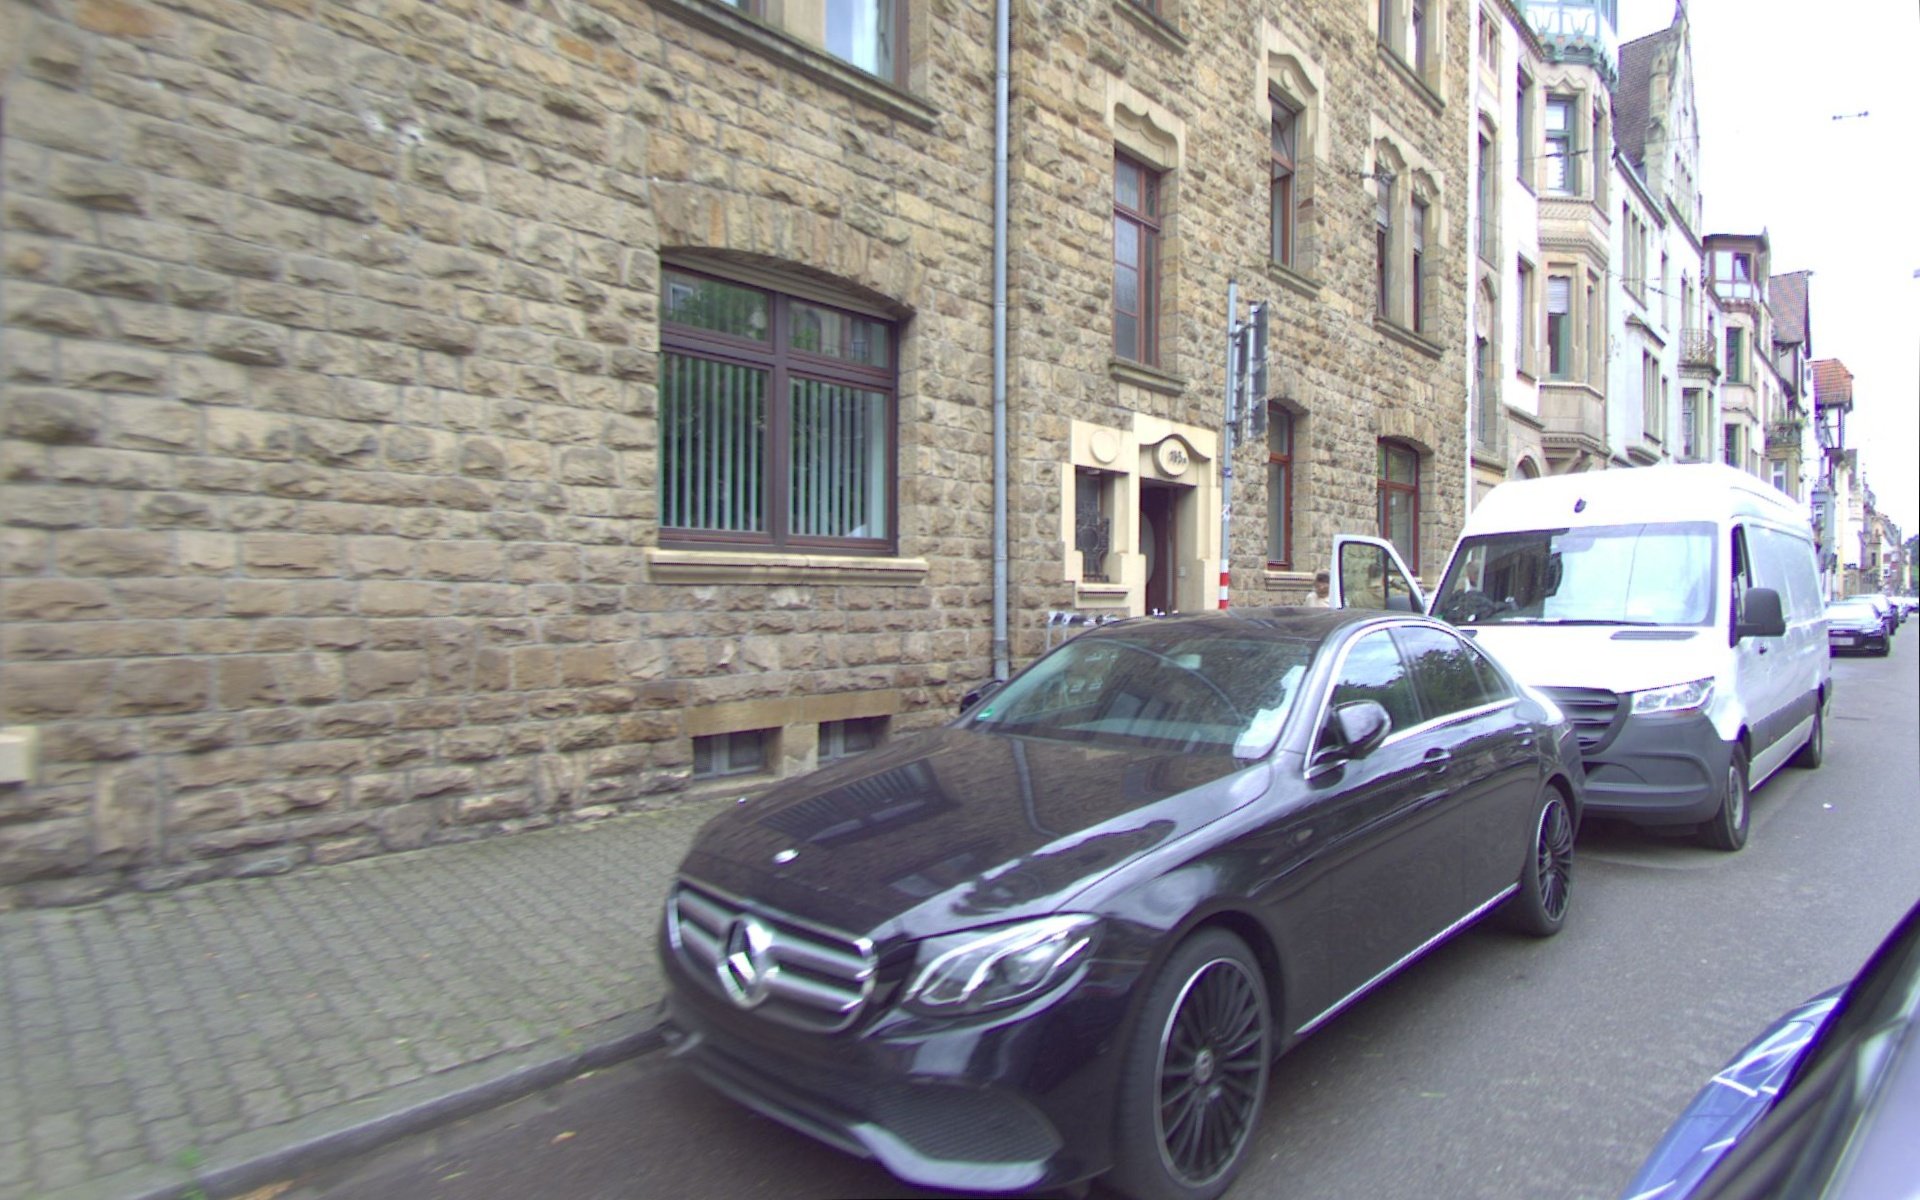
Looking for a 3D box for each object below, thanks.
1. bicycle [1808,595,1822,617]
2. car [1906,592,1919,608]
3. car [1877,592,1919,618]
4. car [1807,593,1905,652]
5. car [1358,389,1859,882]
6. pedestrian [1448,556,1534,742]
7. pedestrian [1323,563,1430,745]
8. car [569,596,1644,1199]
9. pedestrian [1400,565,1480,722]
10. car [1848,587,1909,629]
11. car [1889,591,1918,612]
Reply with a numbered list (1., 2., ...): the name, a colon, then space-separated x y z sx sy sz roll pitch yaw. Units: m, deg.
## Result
1. bicycle: 46.555 0.317 55.104 0.421 1.111 1.563 7 5 44
2. car: 99.061 0.026 104.657 1.672 1.547 4.147 -1 1 44
3. car: 59.907 0.309 64.566 4.145 1.532 1.789 0 -2 -45
4. car: 24.522 0.551 27.631 1.801 1.456 5.113 0 0 44
5. car: 5.831 0.179 8.454 6.901 2.581 2.014 0 -1 -45
6. pedestrian: 5.497 0.481 10.468 0.789 1.837 0.499 0 2 -44
7. pedestrian: 4.169 0.507 10.132 0.858 1.721 0.532 3 2 31
8. car: 1.171 0.739 4.211 4.924 1.468 1.825 -1 0 -44
9. pedestrian: 5.462 0.477 11.551 0.695 1.721 0.490 2 2 18
10. car: 37.458 0.302 41.266 1.759 1.643 4.621 0 0 43
11. car: 74.488 0.097 79.883 1.631 1.547 4.147 -1 1 44
